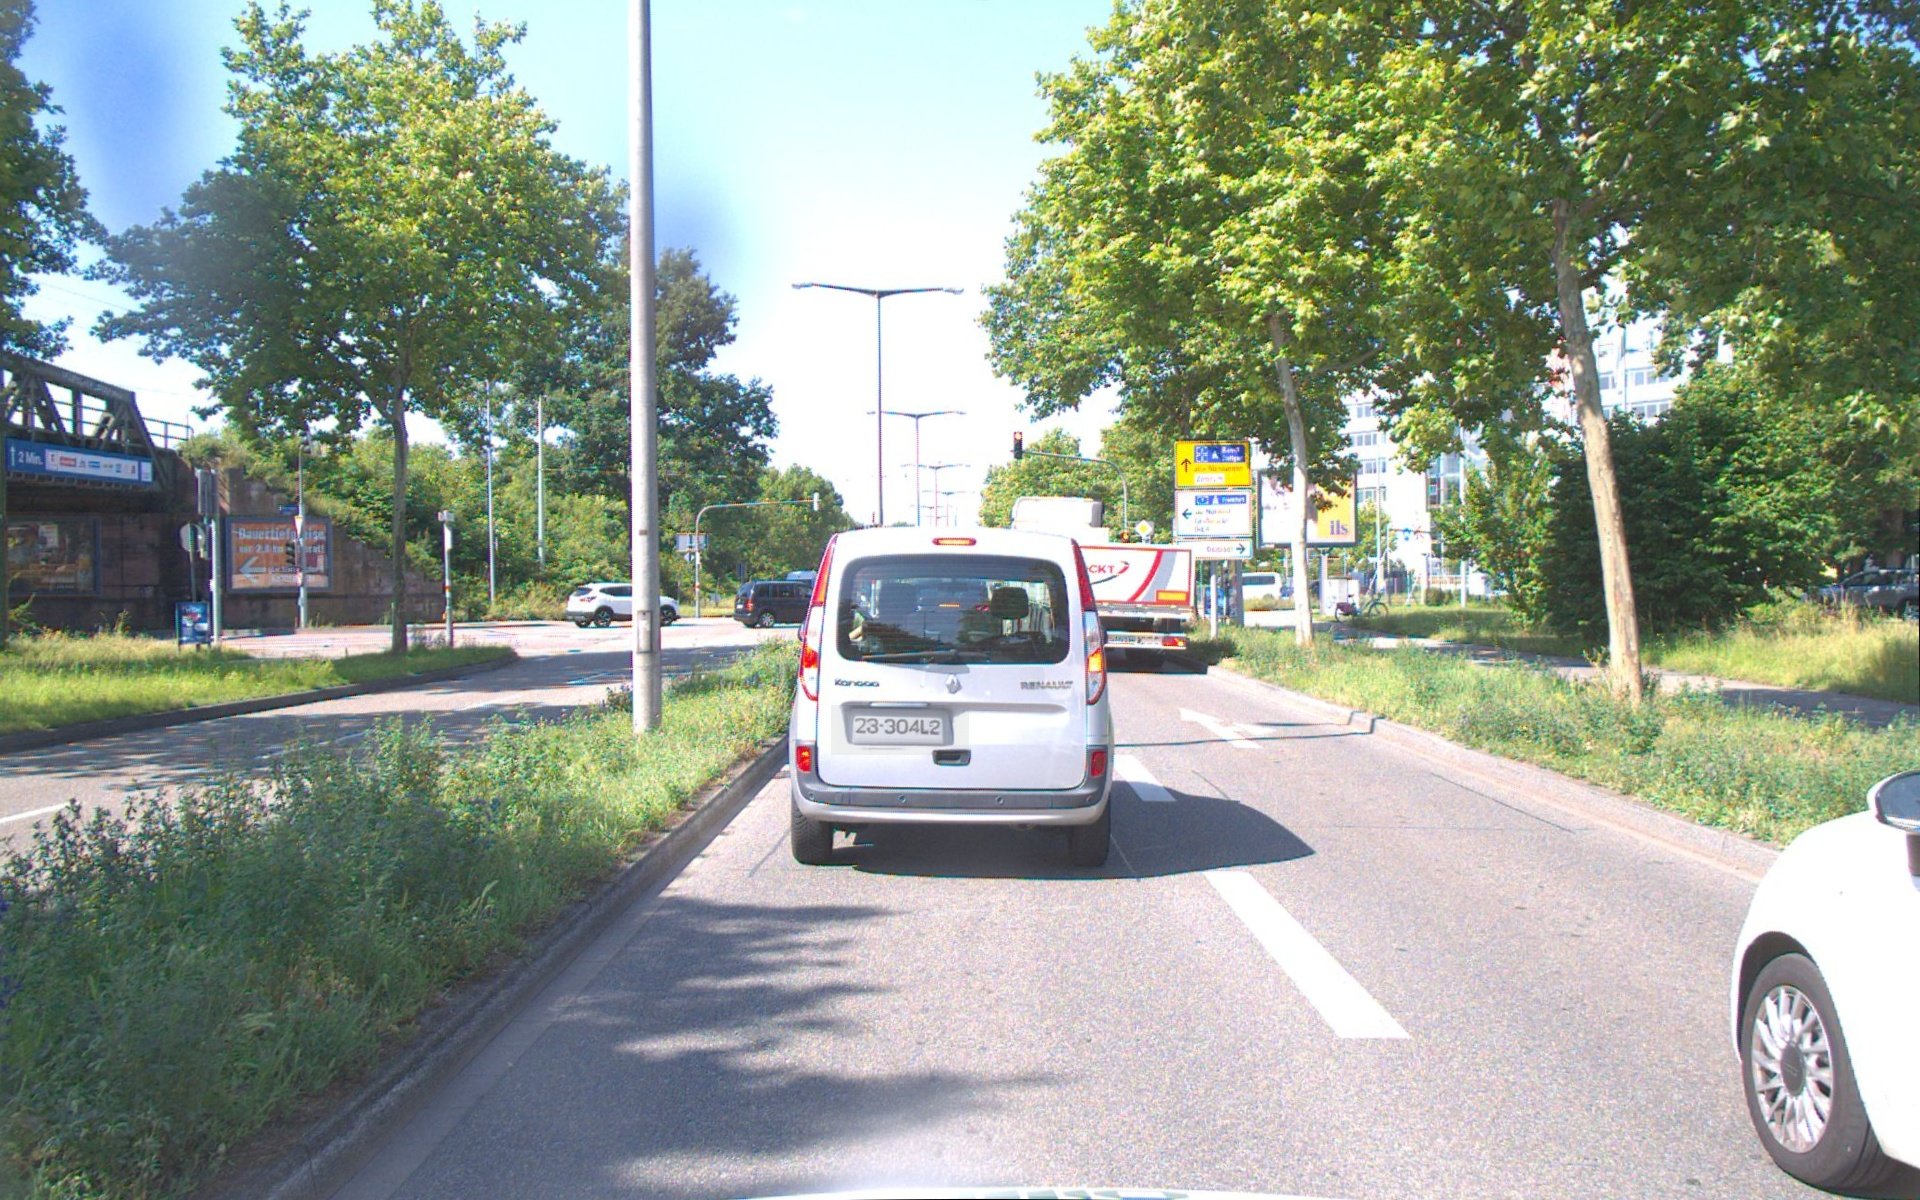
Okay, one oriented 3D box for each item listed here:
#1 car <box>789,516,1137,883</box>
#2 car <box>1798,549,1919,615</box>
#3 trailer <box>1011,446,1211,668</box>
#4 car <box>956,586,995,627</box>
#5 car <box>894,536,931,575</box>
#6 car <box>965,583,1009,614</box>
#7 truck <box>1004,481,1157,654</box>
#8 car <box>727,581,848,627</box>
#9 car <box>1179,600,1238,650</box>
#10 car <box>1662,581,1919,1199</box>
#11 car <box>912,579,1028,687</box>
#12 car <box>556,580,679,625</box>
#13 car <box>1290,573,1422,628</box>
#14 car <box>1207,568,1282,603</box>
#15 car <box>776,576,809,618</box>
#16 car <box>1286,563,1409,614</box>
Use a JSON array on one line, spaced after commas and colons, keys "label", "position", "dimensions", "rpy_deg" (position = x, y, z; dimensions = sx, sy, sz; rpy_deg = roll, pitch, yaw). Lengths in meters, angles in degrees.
[{"label": "car", "position": [-0.018, 0.492, 10.201], "dimensions": [1.713, 1.803, 3.948], "rpy_deg": [1, 0, -1]}, {"label": "car", "position": [25.365, -0.489, 45.619], "dimensions": [3.684, 1.746, 1.757], "rpy_deg": [1, 0, 43]}, {"label": "trailer", "position": [2.799, -0.756, 34.691], "dimensions": [2.954, 3.806, 12.238], "rpy_deg": [1, 0, 0]}, {"label": "car", "position": [0.772, 0.304, 85.876], "dimensions": [1.953, 2.049, 3.999], "rpy_deg": [1, 0, -1]}, {"label": "car", "position": [-2.626, -2.410, 90.257], "dimensions": [1.681, 2.049, 3.995], "rpy_deg": [1, 0, -6]}, {"label": "car", "position": [1.445, -0.101, 91.096], "dimensions": [1.955, 1.668, 3.995], "rpy_deg": [1, 0, -6]}, {"label": "truck", "position": [2.795, -0.737, 40.723], "dimensions": [3.009, 3.823, 7.474], "rpy_deg": [1, 0, -2]}, {"label": "car", "position": [-6.181, 0.140, 59.269], "dimensions": [3.934, 1.601, 1.925], "rpy_deg": [1, 0, -24]}, {"label": "car", "position": [9.471, 0.931, 63.346], "dimensions": [1.778, 1.826, 3.443], "rpy_deg": [1, 0, 1]}, {"label": "car", "position": [2.931, 0.699, 3.258], "dimensions": [1.627, 1.461, 3.520], "rpy_deg": [1, 0, 1]}, {"label": "car", "position": [0.105, 0.526, 28.548], "dimensions": [1.773, 1.713, 3.998], "rpy_deg": [1, 0, -3]}, {"label": "car", "position": [-12.813, 0.093, 61.960], "dimensions": [4.076, 1.655, 1.971], "rpy_deg": [1, 0, -40]}, {"label": "car", "position": [12.732, 0.027, 53.301], "dimensions": [3.903, 1.691, 1.724], "rpy_deg": [1, 0, 5]}, {"label": "car", "position": [17.408, -0.877, 101.264], "dimensions": [4.427, 2.049, 2.002], "rpy_deg": [1, 0, 8]}, {"label": "car", "position": [-11.021, -0.197, 108.710], "dimensions": [2.019, 2.659, 5.861], "rpy_deg": [1, 0, -7]}, {"label": "car", "position": [13.280, -0.397, 56.821], "dimensions": [3.903, 1.691, 1.724], "rpy_deg": [1, 0, 5]}]
